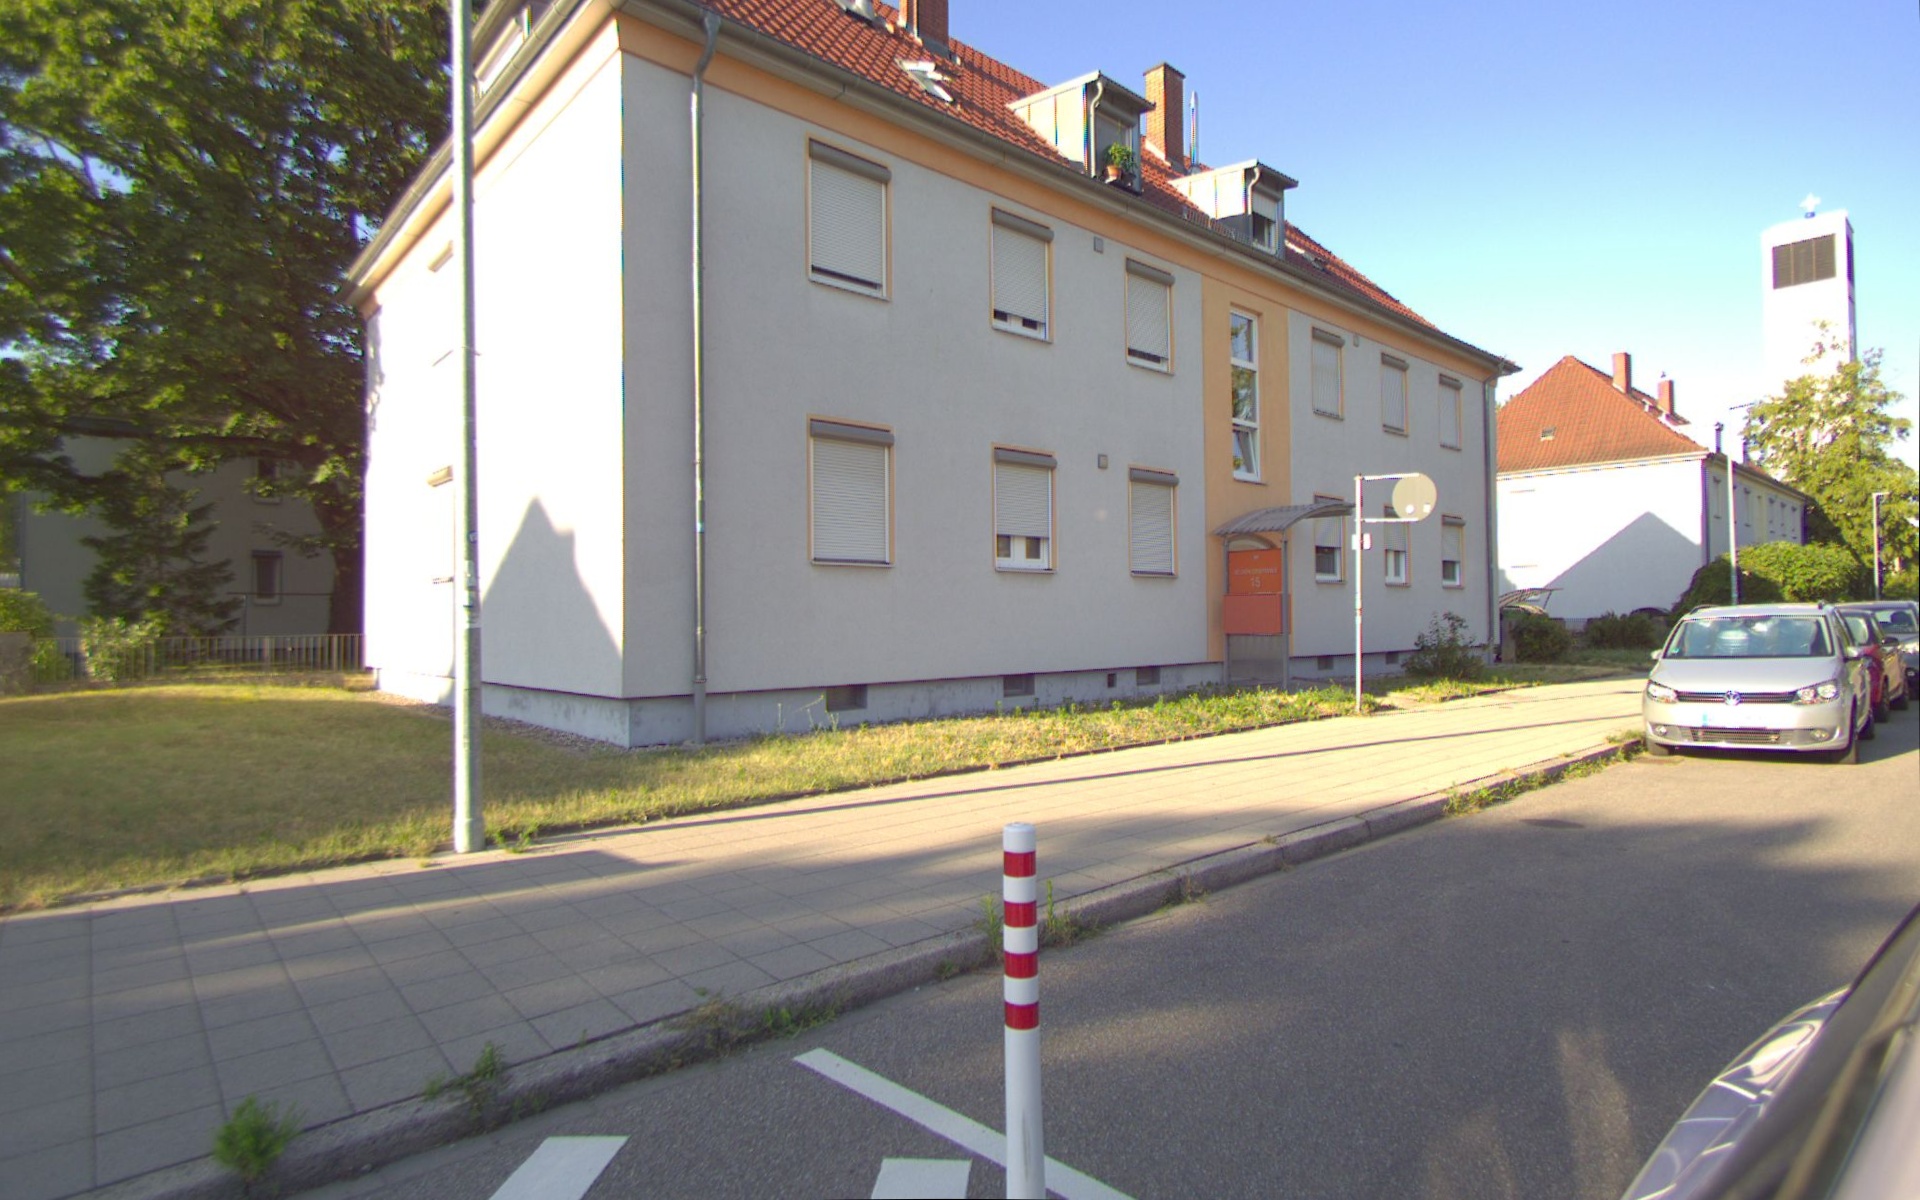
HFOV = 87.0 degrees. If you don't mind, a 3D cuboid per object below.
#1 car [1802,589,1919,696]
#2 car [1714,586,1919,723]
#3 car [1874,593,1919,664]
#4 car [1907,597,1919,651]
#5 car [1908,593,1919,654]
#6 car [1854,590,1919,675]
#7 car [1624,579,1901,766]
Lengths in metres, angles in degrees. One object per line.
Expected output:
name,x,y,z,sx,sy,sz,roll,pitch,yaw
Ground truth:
car,16.500,0.696,17.987,3.934,1.717,1.846,0,-3,-44
car,12.594,0.719,14.774,3.934,1.717,1.846,0,-3,-44
car,24.764,0.664,25.766,3.934,1.717,1.846,0,-3,-44
car,32.453,0.718,33.110,3.934,1.717,1.846,0,-3,-44
car,28.667,0.613,29.053,3.934,1.717,1.846,0,-3,-44
car,20.965,0.652,22.037,3.934,1.717,1.846,0,-3,-44
car,9.086,0.695,11.349,3.934,1.717,1.846,0,-3,-44
